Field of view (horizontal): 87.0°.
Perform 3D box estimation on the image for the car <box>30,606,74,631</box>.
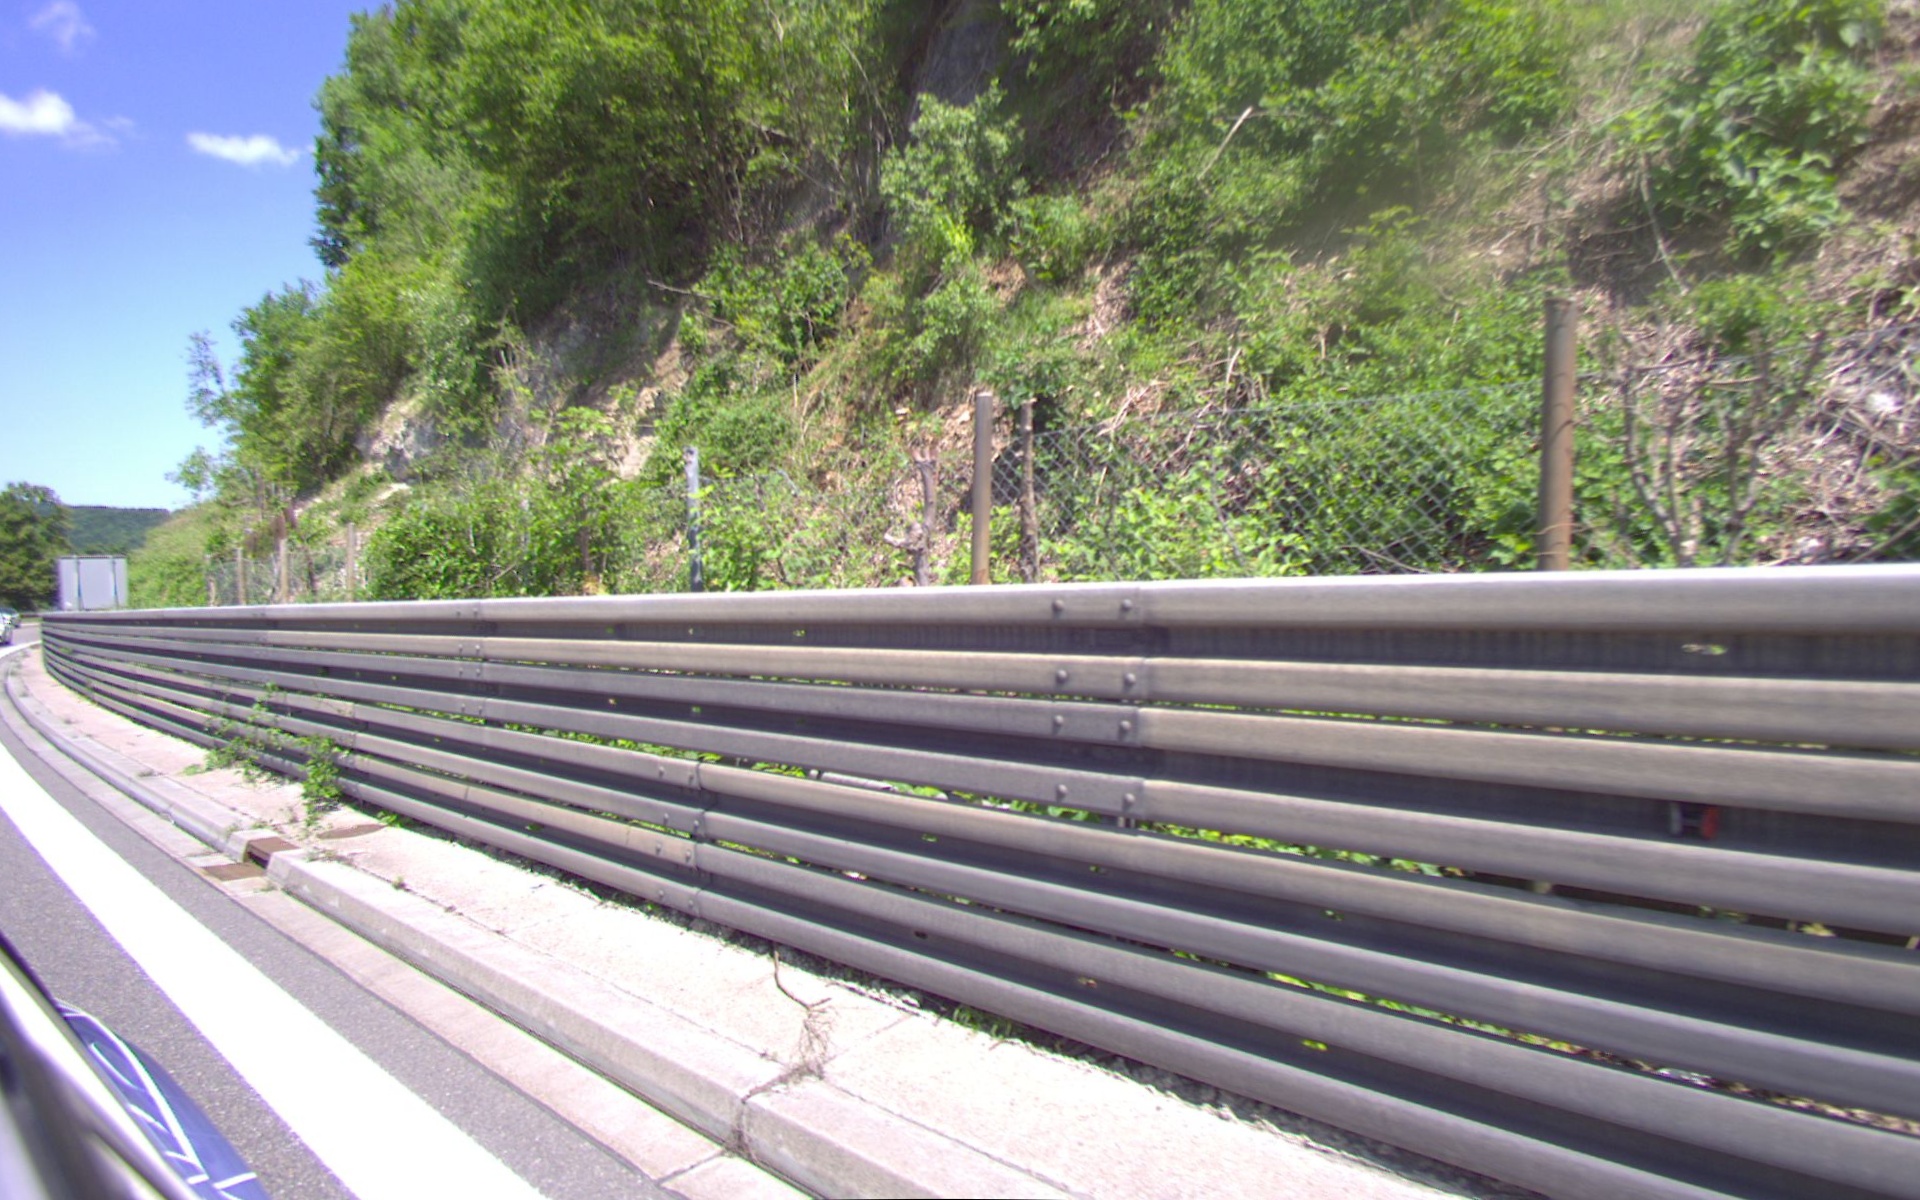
[{"bbox_3d":[-73.906,1.484,82.420,1.966,2.029,4.012,0,0,-31],"label":"car"}]
